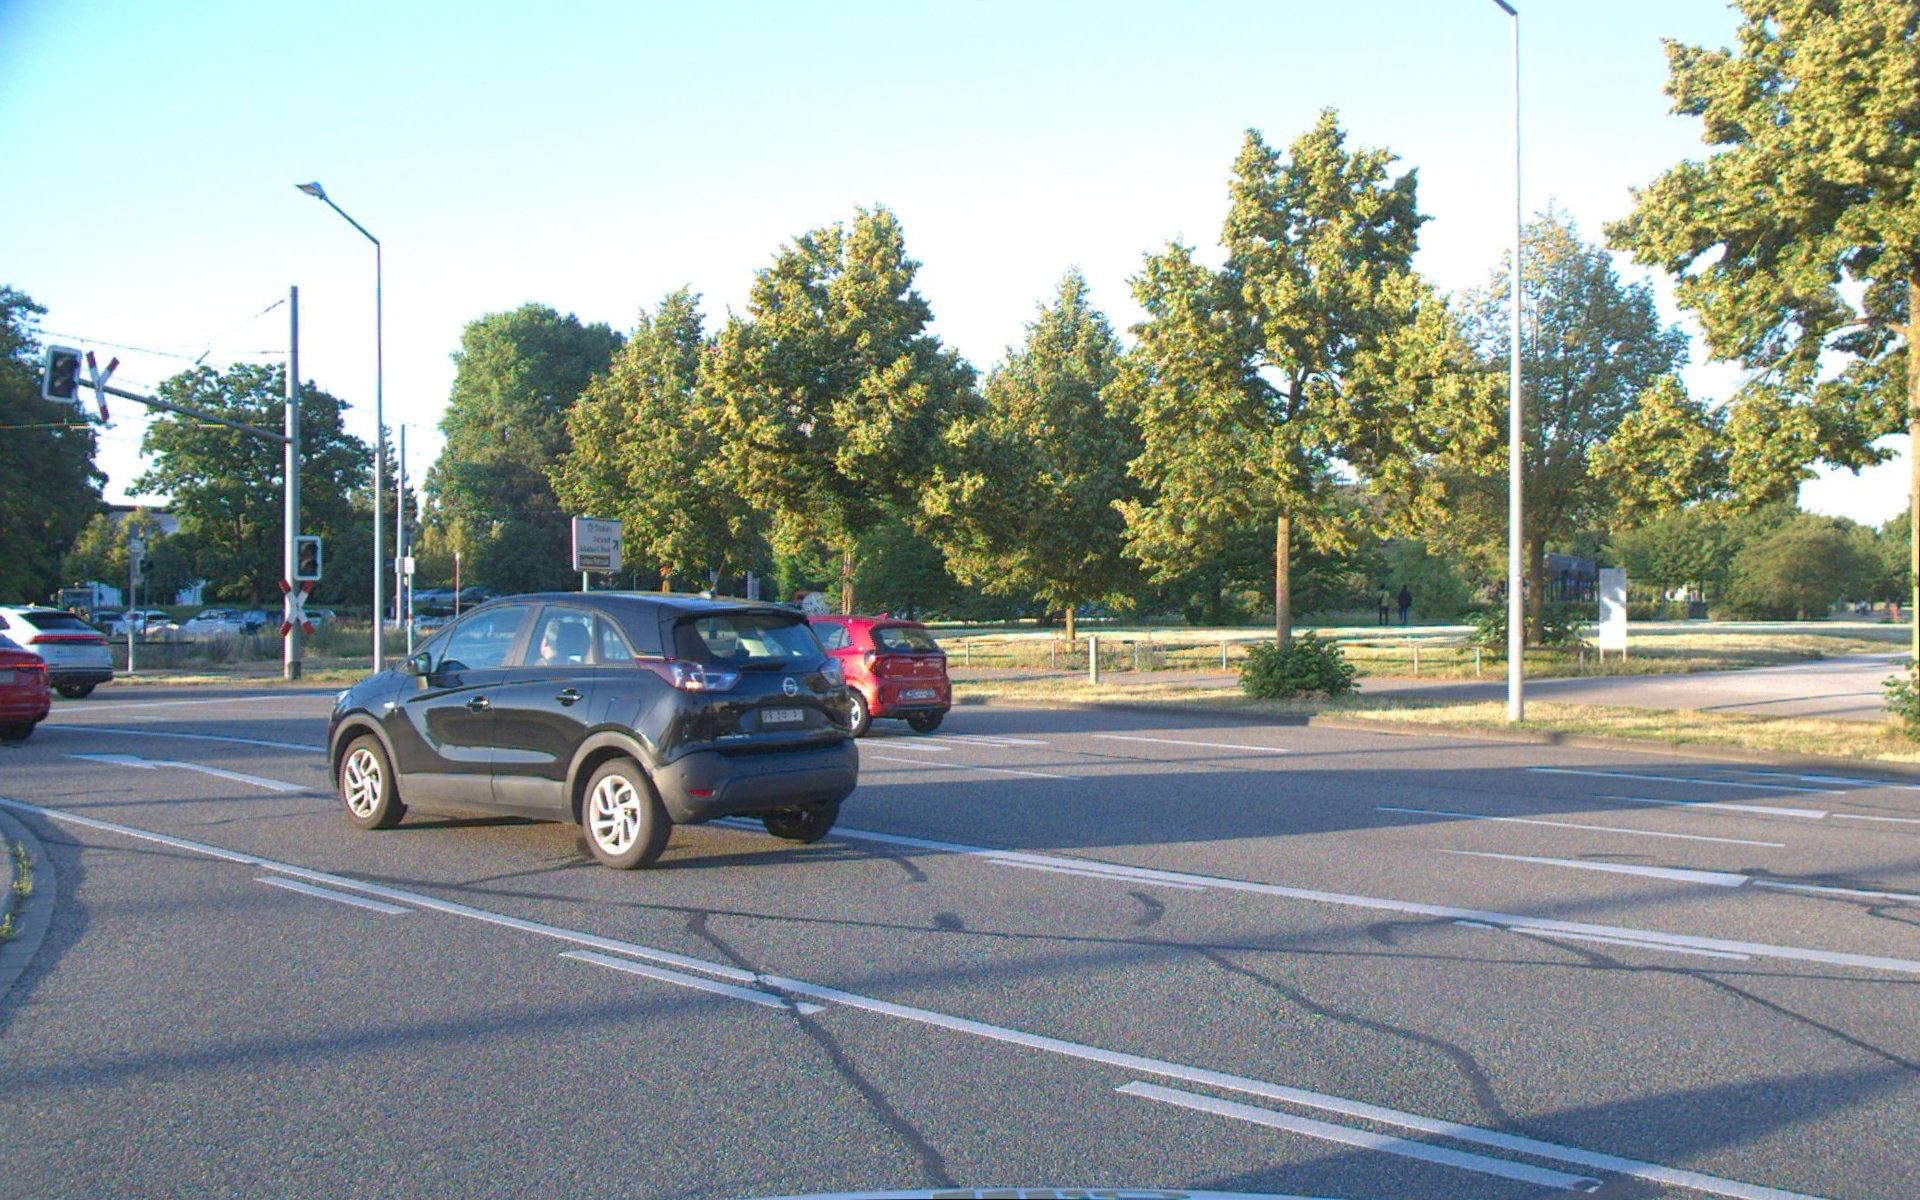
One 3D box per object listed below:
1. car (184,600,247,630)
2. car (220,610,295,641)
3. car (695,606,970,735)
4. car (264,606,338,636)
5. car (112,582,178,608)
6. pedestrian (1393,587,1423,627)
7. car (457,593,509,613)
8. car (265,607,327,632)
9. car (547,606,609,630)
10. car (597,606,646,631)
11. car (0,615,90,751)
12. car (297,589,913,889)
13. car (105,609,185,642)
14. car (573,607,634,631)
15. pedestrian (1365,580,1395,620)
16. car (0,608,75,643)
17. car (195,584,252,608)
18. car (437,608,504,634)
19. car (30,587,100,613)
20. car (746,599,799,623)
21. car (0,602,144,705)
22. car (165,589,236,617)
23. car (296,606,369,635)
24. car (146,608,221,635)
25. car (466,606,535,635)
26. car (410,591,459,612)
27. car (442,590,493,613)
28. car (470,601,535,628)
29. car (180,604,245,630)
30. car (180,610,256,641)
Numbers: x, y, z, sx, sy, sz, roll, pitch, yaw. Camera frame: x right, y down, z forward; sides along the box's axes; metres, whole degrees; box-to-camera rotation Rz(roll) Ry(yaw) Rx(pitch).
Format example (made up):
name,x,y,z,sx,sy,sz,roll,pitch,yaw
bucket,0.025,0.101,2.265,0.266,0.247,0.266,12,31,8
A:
name,x,y,z,sx,sy,sz,roll,pitch,yaw
car,-51.899,1.045,115.306,3.939,2.049,1.983,0,0,-27
car,-39.096,1.396,92.037,3.915,1.632,1.995,0,0,32
car,-1.697,0.848,21.564,3.425,1.526,1.634,0,0,39
car,-37.396,1.168,93.863,3.915,1.632,1.995,0,0,32
car,-67.130,-0.412,136.329,1.958,2.049,4.585,0,0,33
pedestrian,18.690,0.275,69.009,1.047,1.646,0.911,0,0,2
car,-41.702,0.298,144.717,3.902,1.736,2.001,0,0,6
car,-45.826,1.321,114.104,3.933,1.691,1.889,0,0,-23
car,-26.279,1.238,113.669,3.915,1.632,1.995,0,0,32
car,-26.375,1.395,128.874,1.979,1.782,4.538,0,1,-37
car,-11.981,0.885,18.691,4.402,1.416,1.891,0,0,33
car,-2.410,0.744,10.849,3.922,1.612,1.887,0,0,38
car,-42.262,1.315,85.780,3.915,1.632,1.995,0,0,32
car,-24.911,1.323,115.419,3.915,1.632,1.995,0,0,32
pedestrian,17.543,-0.001,69.081,1.047,1.646,0.911,0,0,2
car,-45.631,1.239,81.426,3.915,1.632,1.995,0,0,32
car,-63.388,-0.324,142.351,1.958,2.049,4.105,0,0,33
car,-30.985,1.324,104.680,3.915,1.632,1.995,0,0,32
car,-70.545,-0.023,130.454,1.956,2.049,4.590,0,0,29
car,-13.012,0.762,114.669,1.724,1.646,3.940,0,0,-41
car,-17.317,0.918,29.807,4.601,1.736,2.001,0,0,18
car,-56.658,0.240,123.481,1.956,2.049,4.590,0,0,29
car,-36.452,1.194,96.082,3.915,1.632,1.995,0,0,32
car,-50.239,1.371,107.075,1.863,1.691,3.987,0,0,34
car,-32.535,1.442,117.149,4.499,2.049,1.996,0,0,-9
car,-47.965,0.116,151.055,1.959,1.847,3.987,0,0,34
car,-44.103,0.112,148.229,1.963,2.049,3.979,0,0,40
car,-34.604,1.086,125.256,4.499,2.049,1.996,0,0,-9
car,-50.570,1.110,111.862,3.939,1.691,1.983,0,0,-27
car,-40.538,1.364,90.369,3.915,1.632,1.995,0,0,32
